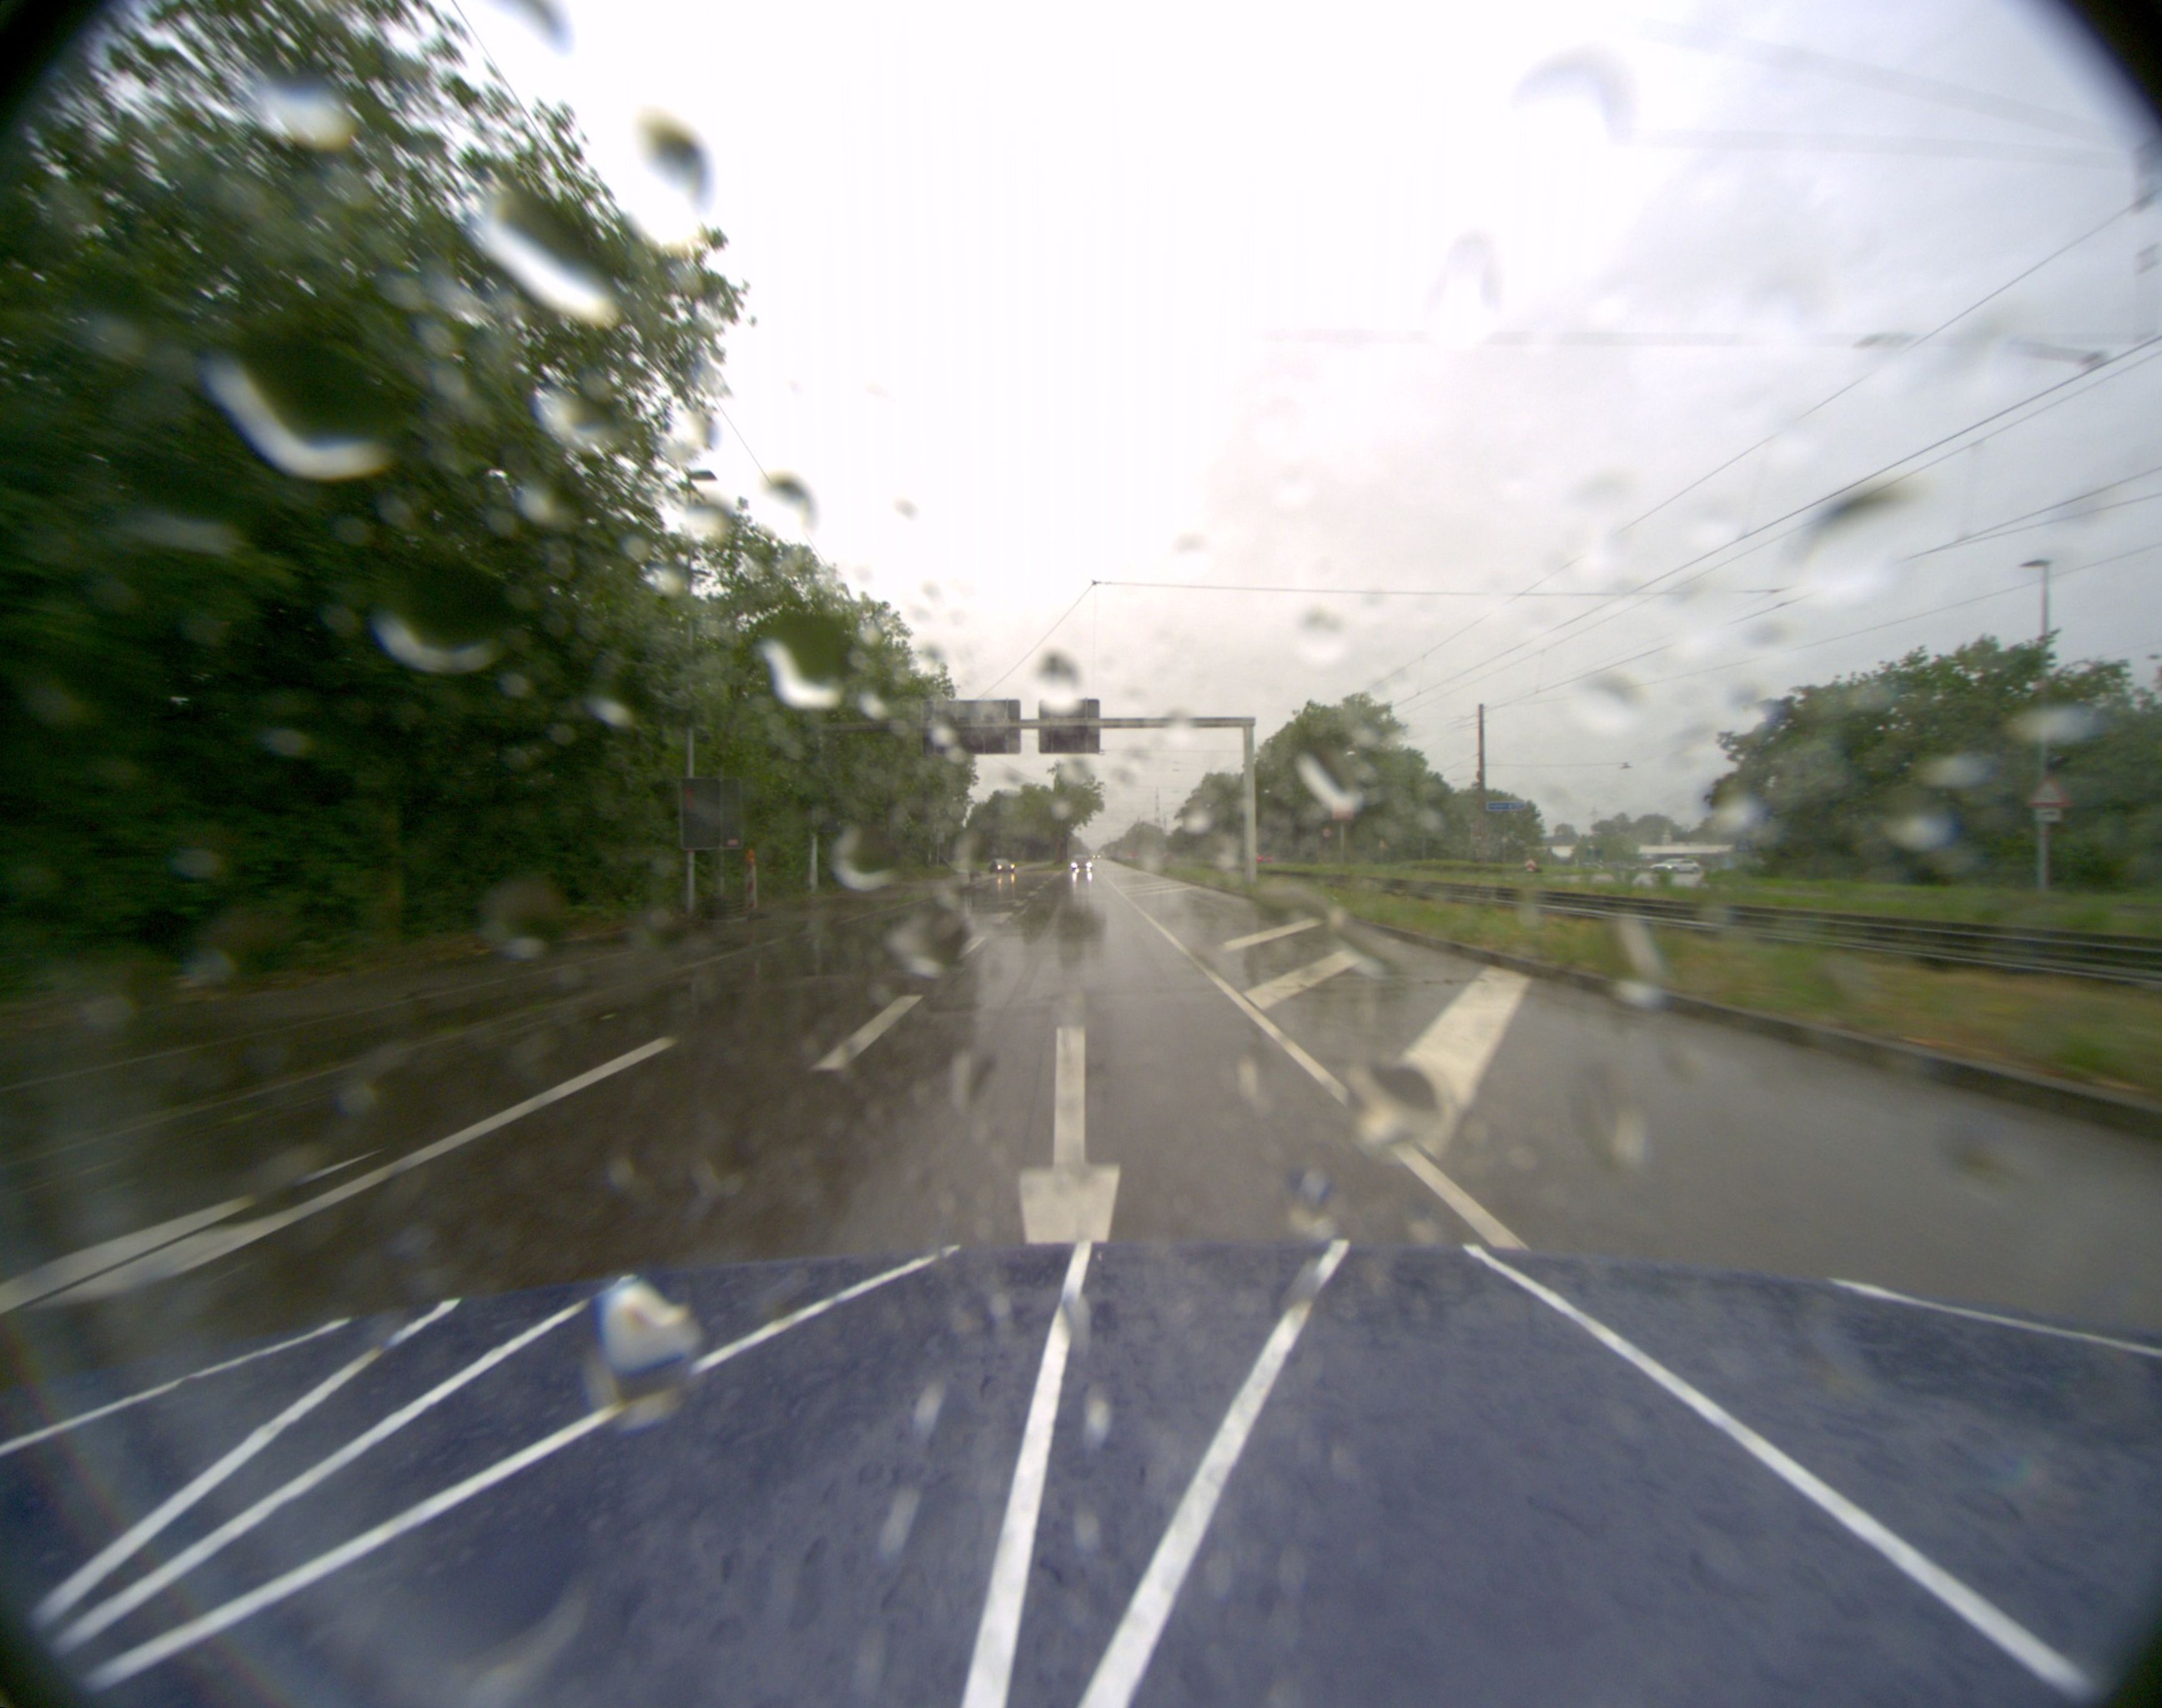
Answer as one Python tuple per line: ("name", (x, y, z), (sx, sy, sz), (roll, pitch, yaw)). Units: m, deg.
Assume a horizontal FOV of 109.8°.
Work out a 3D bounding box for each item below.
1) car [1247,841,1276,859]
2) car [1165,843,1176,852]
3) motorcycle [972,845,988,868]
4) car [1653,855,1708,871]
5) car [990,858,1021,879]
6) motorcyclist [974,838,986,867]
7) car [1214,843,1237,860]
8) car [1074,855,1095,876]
("car", (20.628, -0.496, 87.062), (1.975, 2.002, 4.519), (-1, 0, -3))
("car", (20.459, -1.476, 174.290), (1.998, 2.002, 4.000), (-1, 0, 0))
("motorcycle", (-7.906, 0.168, 59.521), (0.845, 1.710, 2.585), (-1, 1, 0))
("car", (57.812, 0.839, 73.314), (4.492, 1.348, 1.605), (-1, 1, -10))
("car", (-7.491, 1.421, 75.310), (2.002, 2.002, 3.993), (-1, 0, -21))
("motorcyclist", (-7.918, -0.150, 59.381), (0.762, 2.246, 0.915), (-1, 1, 0))
("car", (17.474, -0.299, 91.772), (1.998, 2.002, 4.000), (-1, 0, 0))
("car", (0.376, 1.089, 74.362), (1.998, 2.002, 4.000), (-1, 0, 0))
